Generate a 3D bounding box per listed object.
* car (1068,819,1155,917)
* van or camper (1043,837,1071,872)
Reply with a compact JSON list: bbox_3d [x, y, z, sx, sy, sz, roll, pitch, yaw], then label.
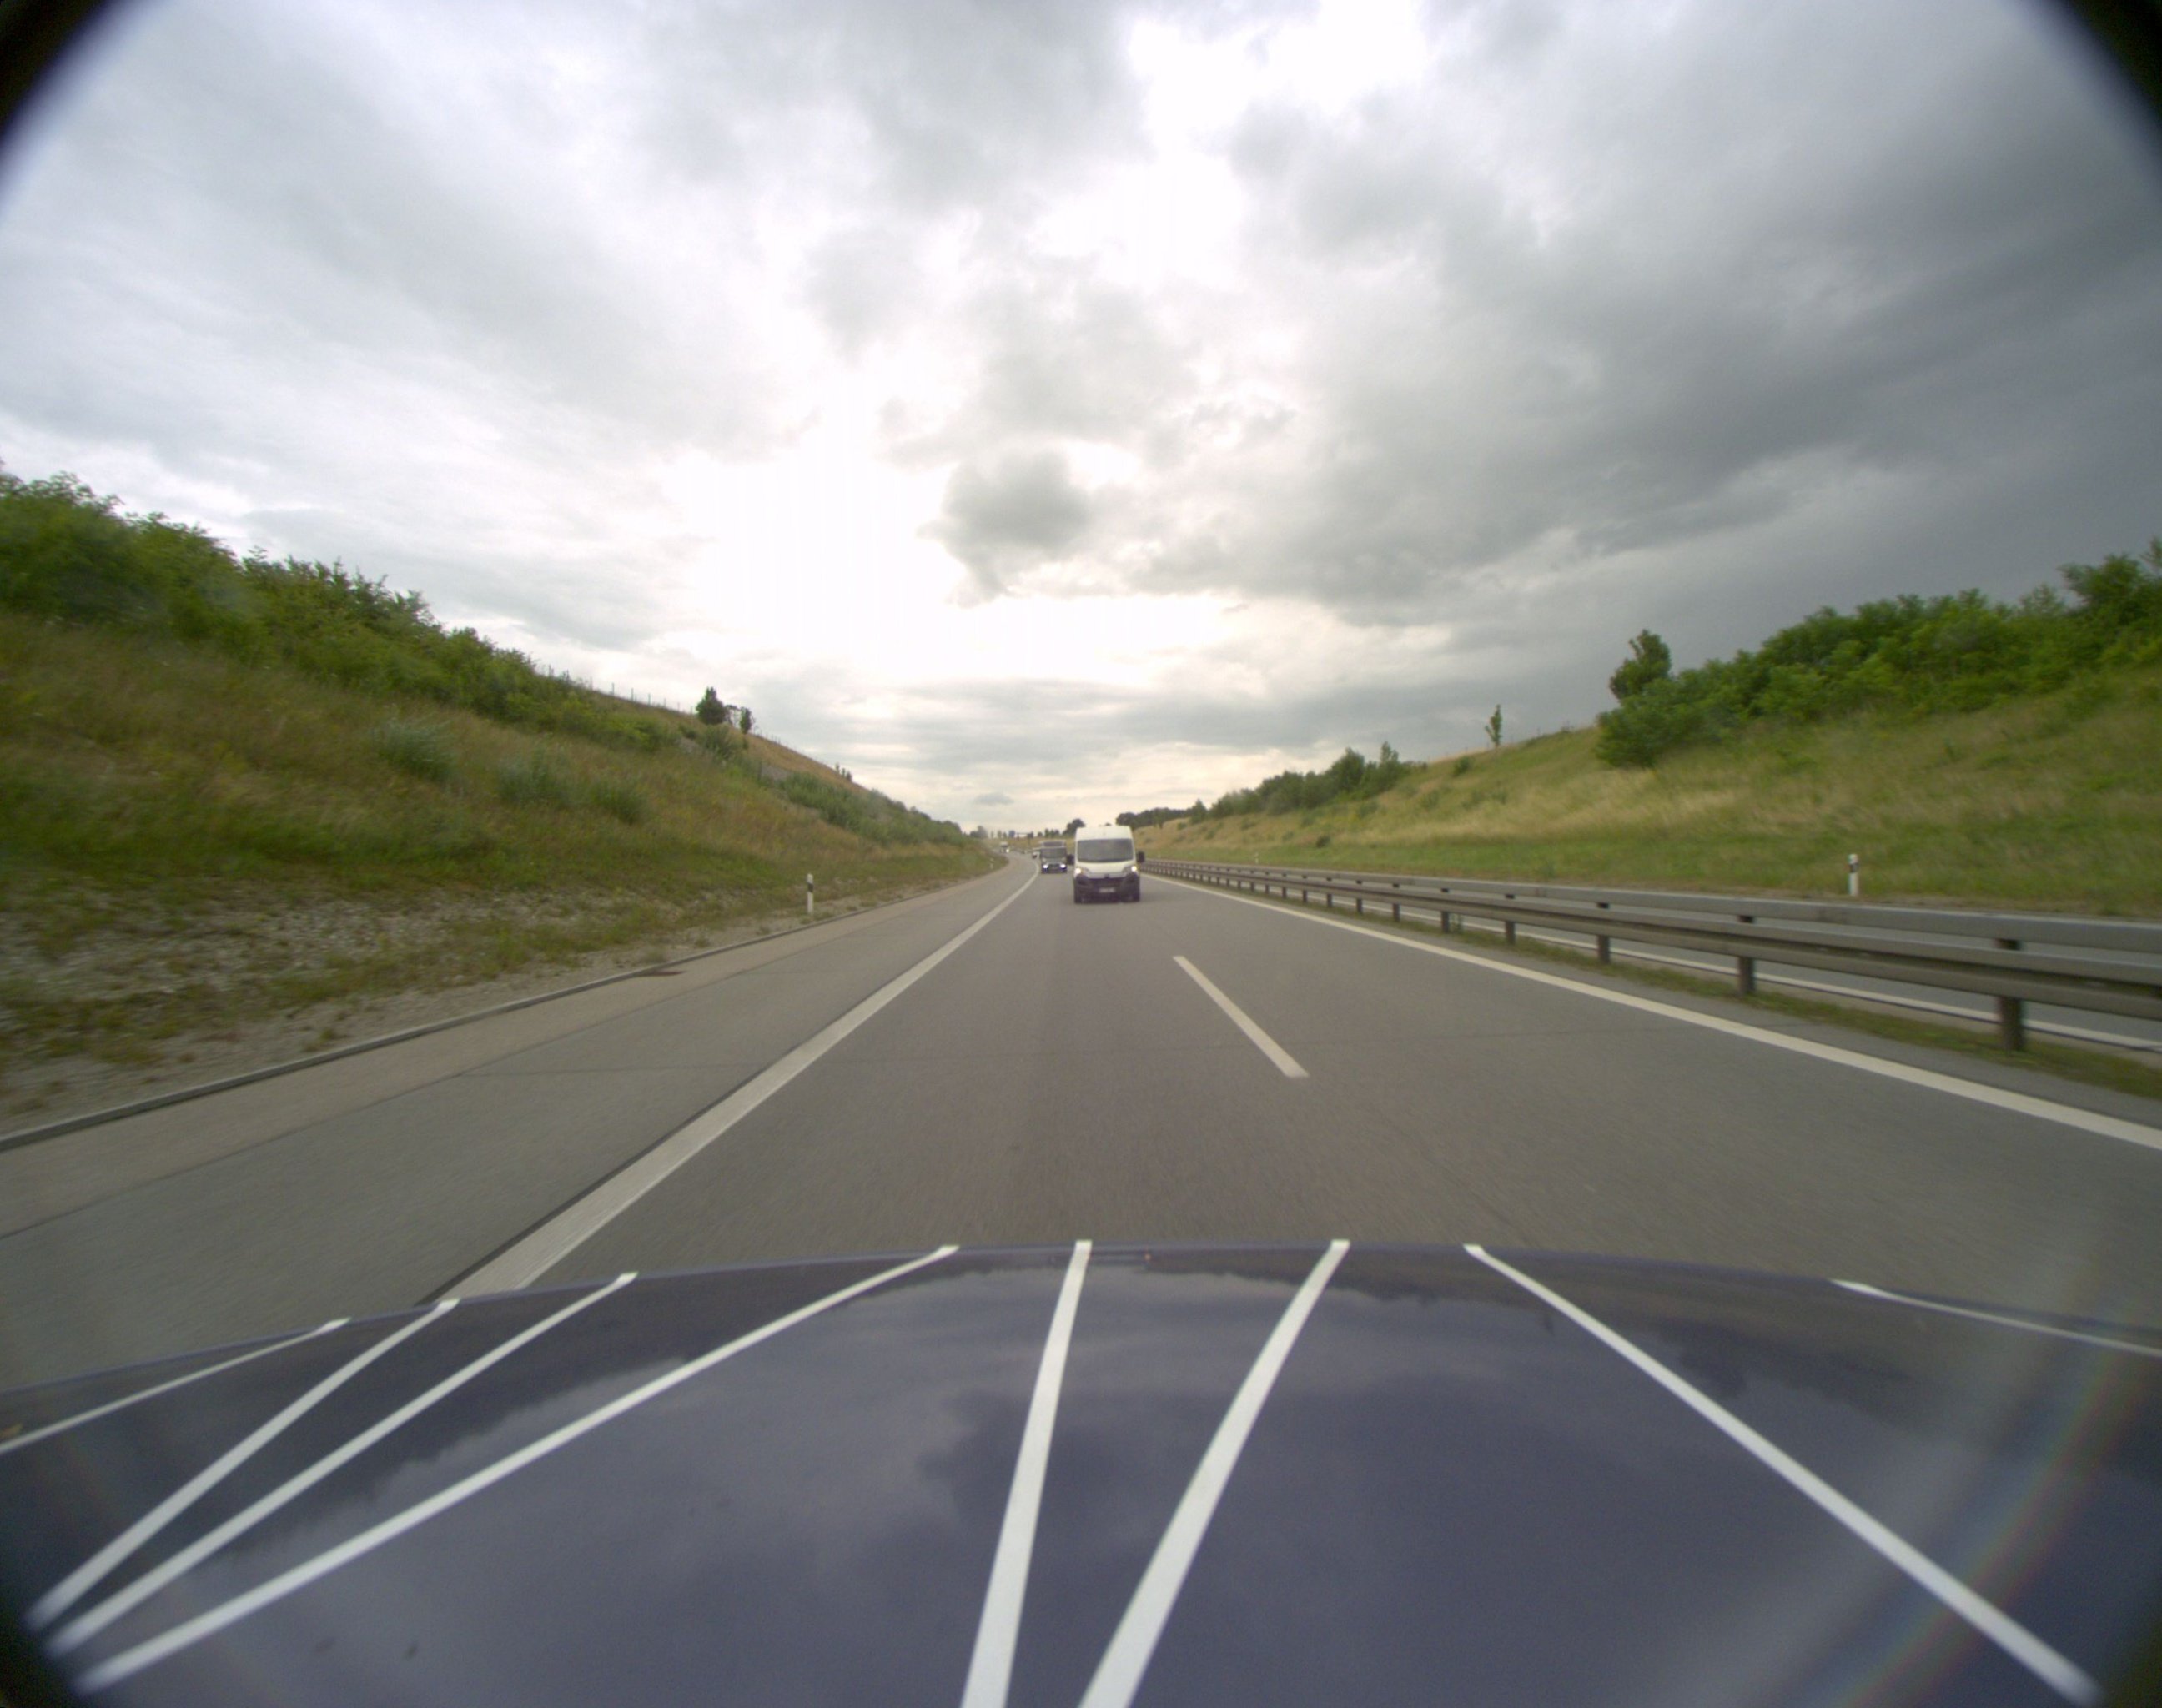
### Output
[{"bbox_3d":[0.726,0.311,22.217,2.132,2.412,6.110,-2,1,-1],"label":"car"},{"bbox_3d":[-2.021,-0.027,63.662,2.104,2.722,6.899,-1,1,-2],"label":"van or camper"}]
